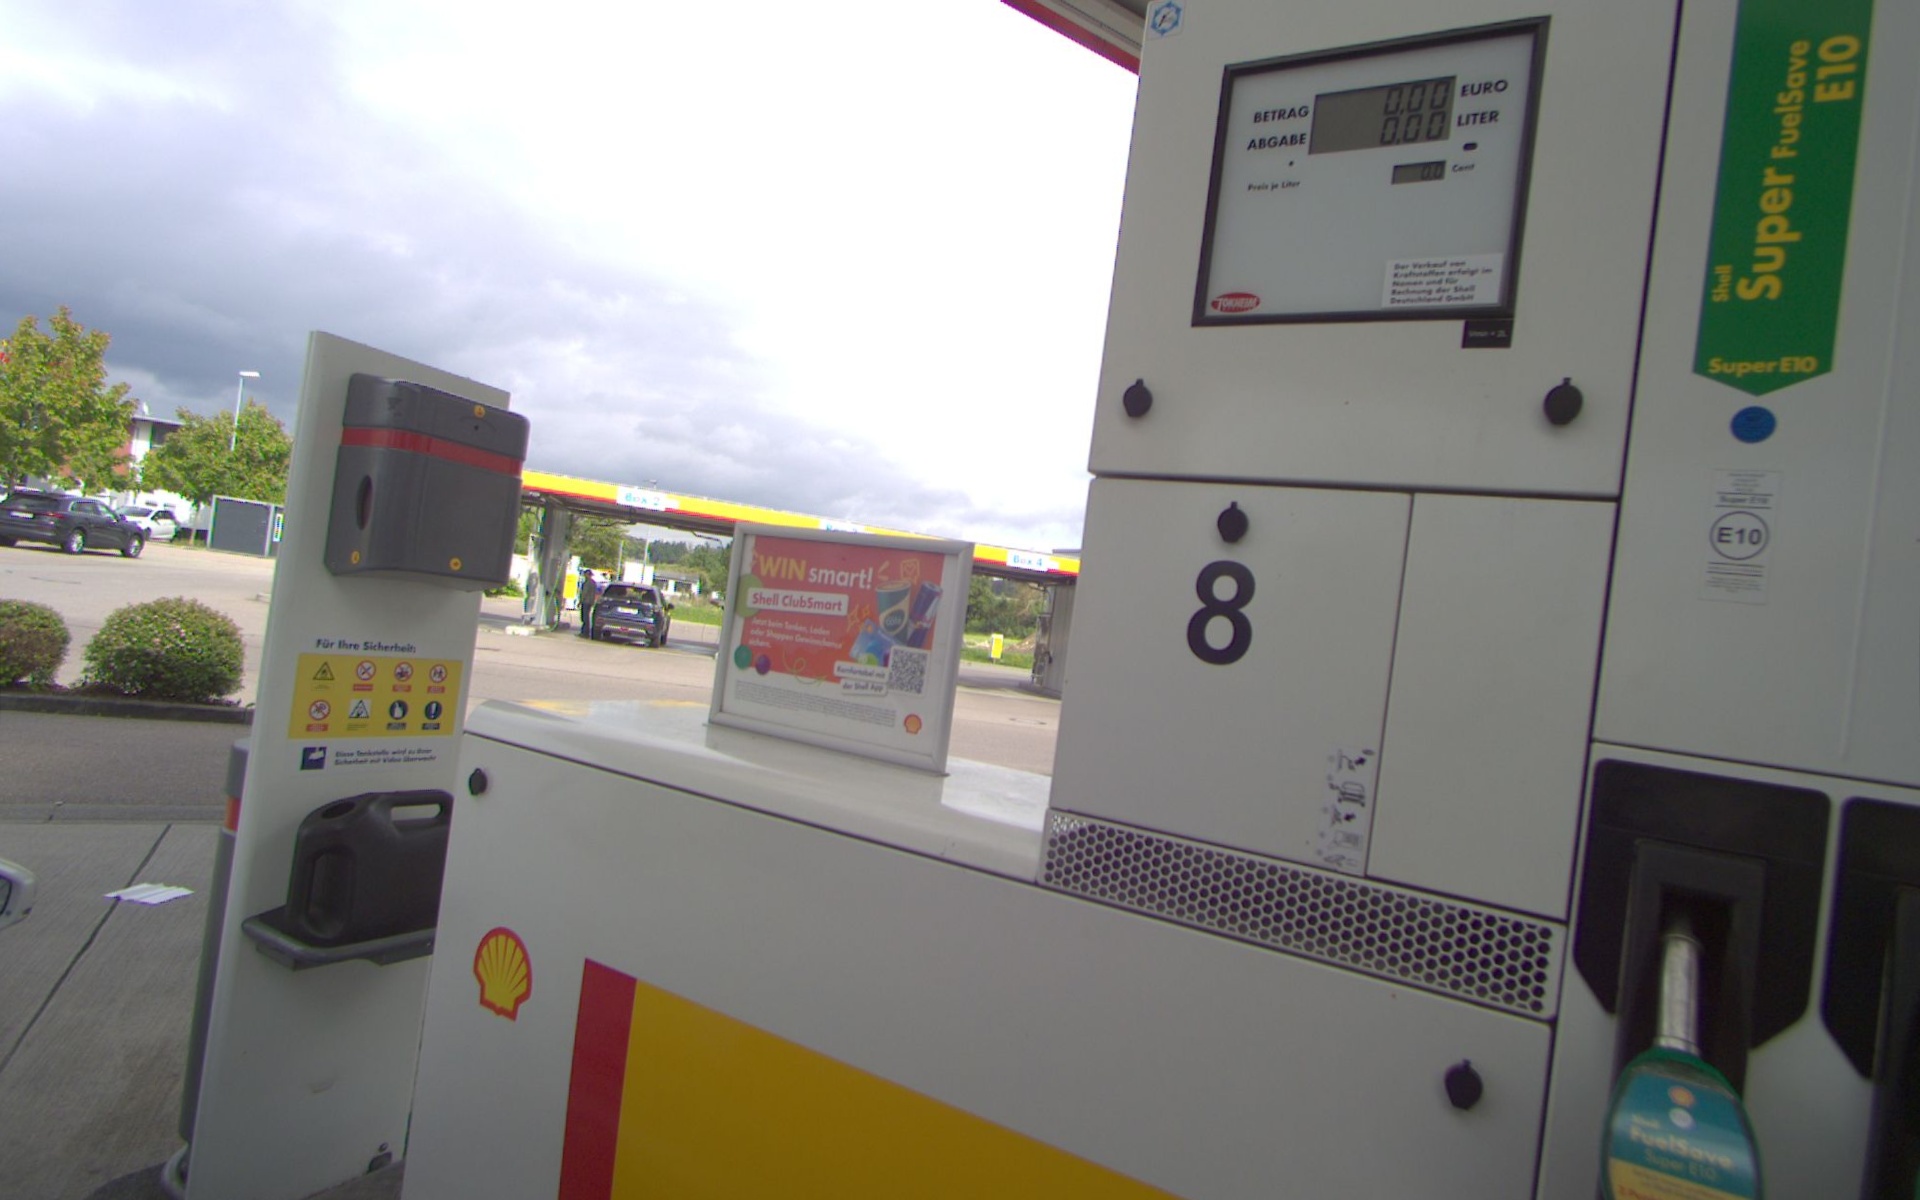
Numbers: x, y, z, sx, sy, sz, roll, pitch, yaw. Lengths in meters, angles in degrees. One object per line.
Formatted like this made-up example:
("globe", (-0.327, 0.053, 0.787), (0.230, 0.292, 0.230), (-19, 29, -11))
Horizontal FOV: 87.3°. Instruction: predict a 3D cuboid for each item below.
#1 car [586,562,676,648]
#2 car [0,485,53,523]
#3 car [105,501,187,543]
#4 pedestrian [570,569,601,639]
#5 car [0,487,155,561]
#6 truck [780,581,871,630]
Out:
("car", (-8.697, 0.145, 26.878), (1.696, 1.919, 3.800), (8, -2, -12))
("car", (-57.362, -5.916, 60.252), (2.149, 1.854, 4.870), (8, -2, -11))
("car", (-35.260, -3.349, 43.659), (1.346, 1.322, 3.098), (8, -2, -12))
("pedestrian", (-9.735, 0.091, 26.145), (0.550, 1.742, 0.526), (7, -1, -21))
("car", (-25.929, -2.174, 29.275), (1.855, 1.566, 4.498), (8, -2, -10))
("truck", (-13.022, 0.543, 97.522), (7.978, 3.575, 2.687), (8, -2, -19))
